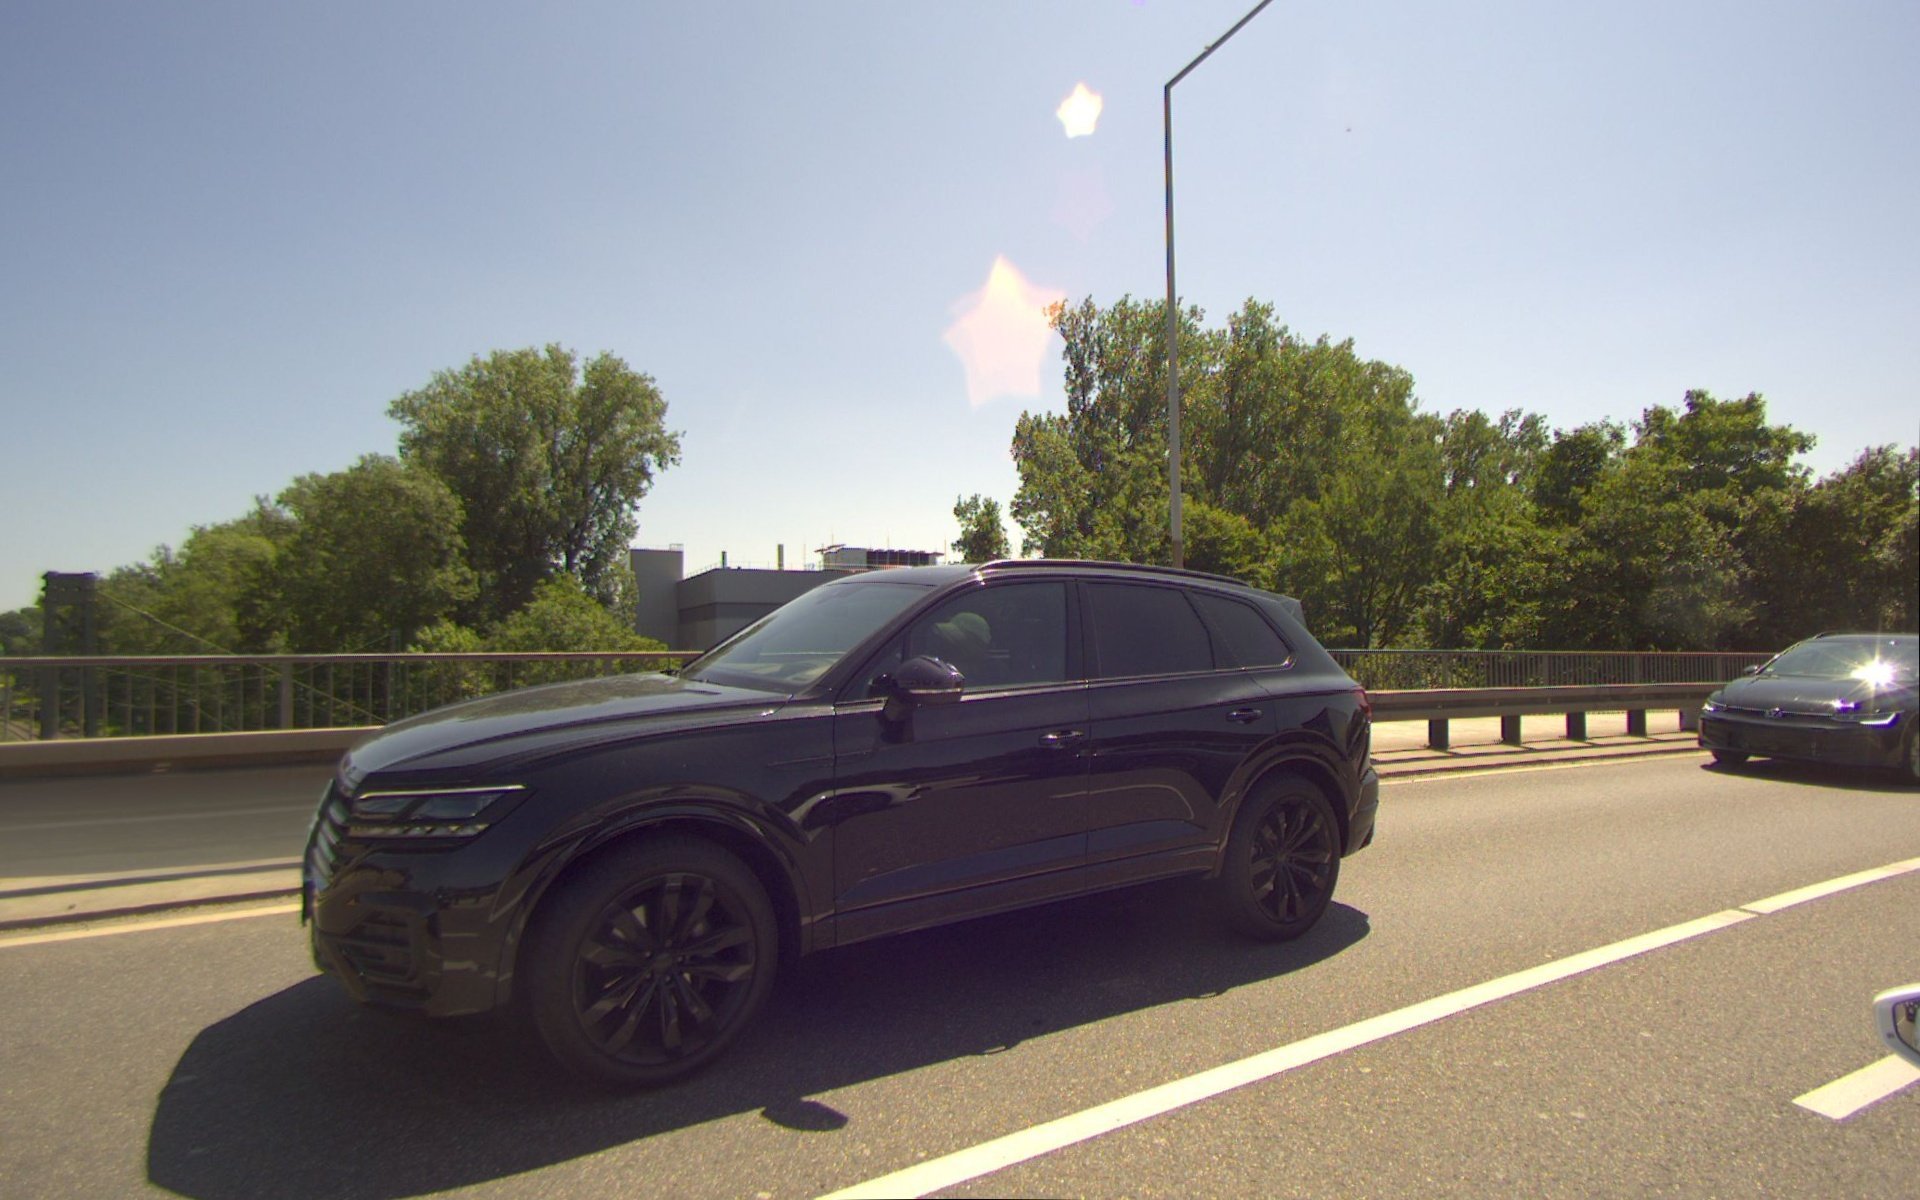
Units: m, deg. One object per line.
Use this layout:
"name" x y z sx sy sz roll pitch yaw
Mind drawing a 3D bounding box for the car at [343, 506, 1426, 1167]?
"car" -0.131 0.665 4.627 4.562 1.695 1.956 2 -1 -32

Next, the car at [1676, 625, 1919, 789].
"car" 10.063 1.053 11.012 4.400 1.488 1.705 1 -1 -26
